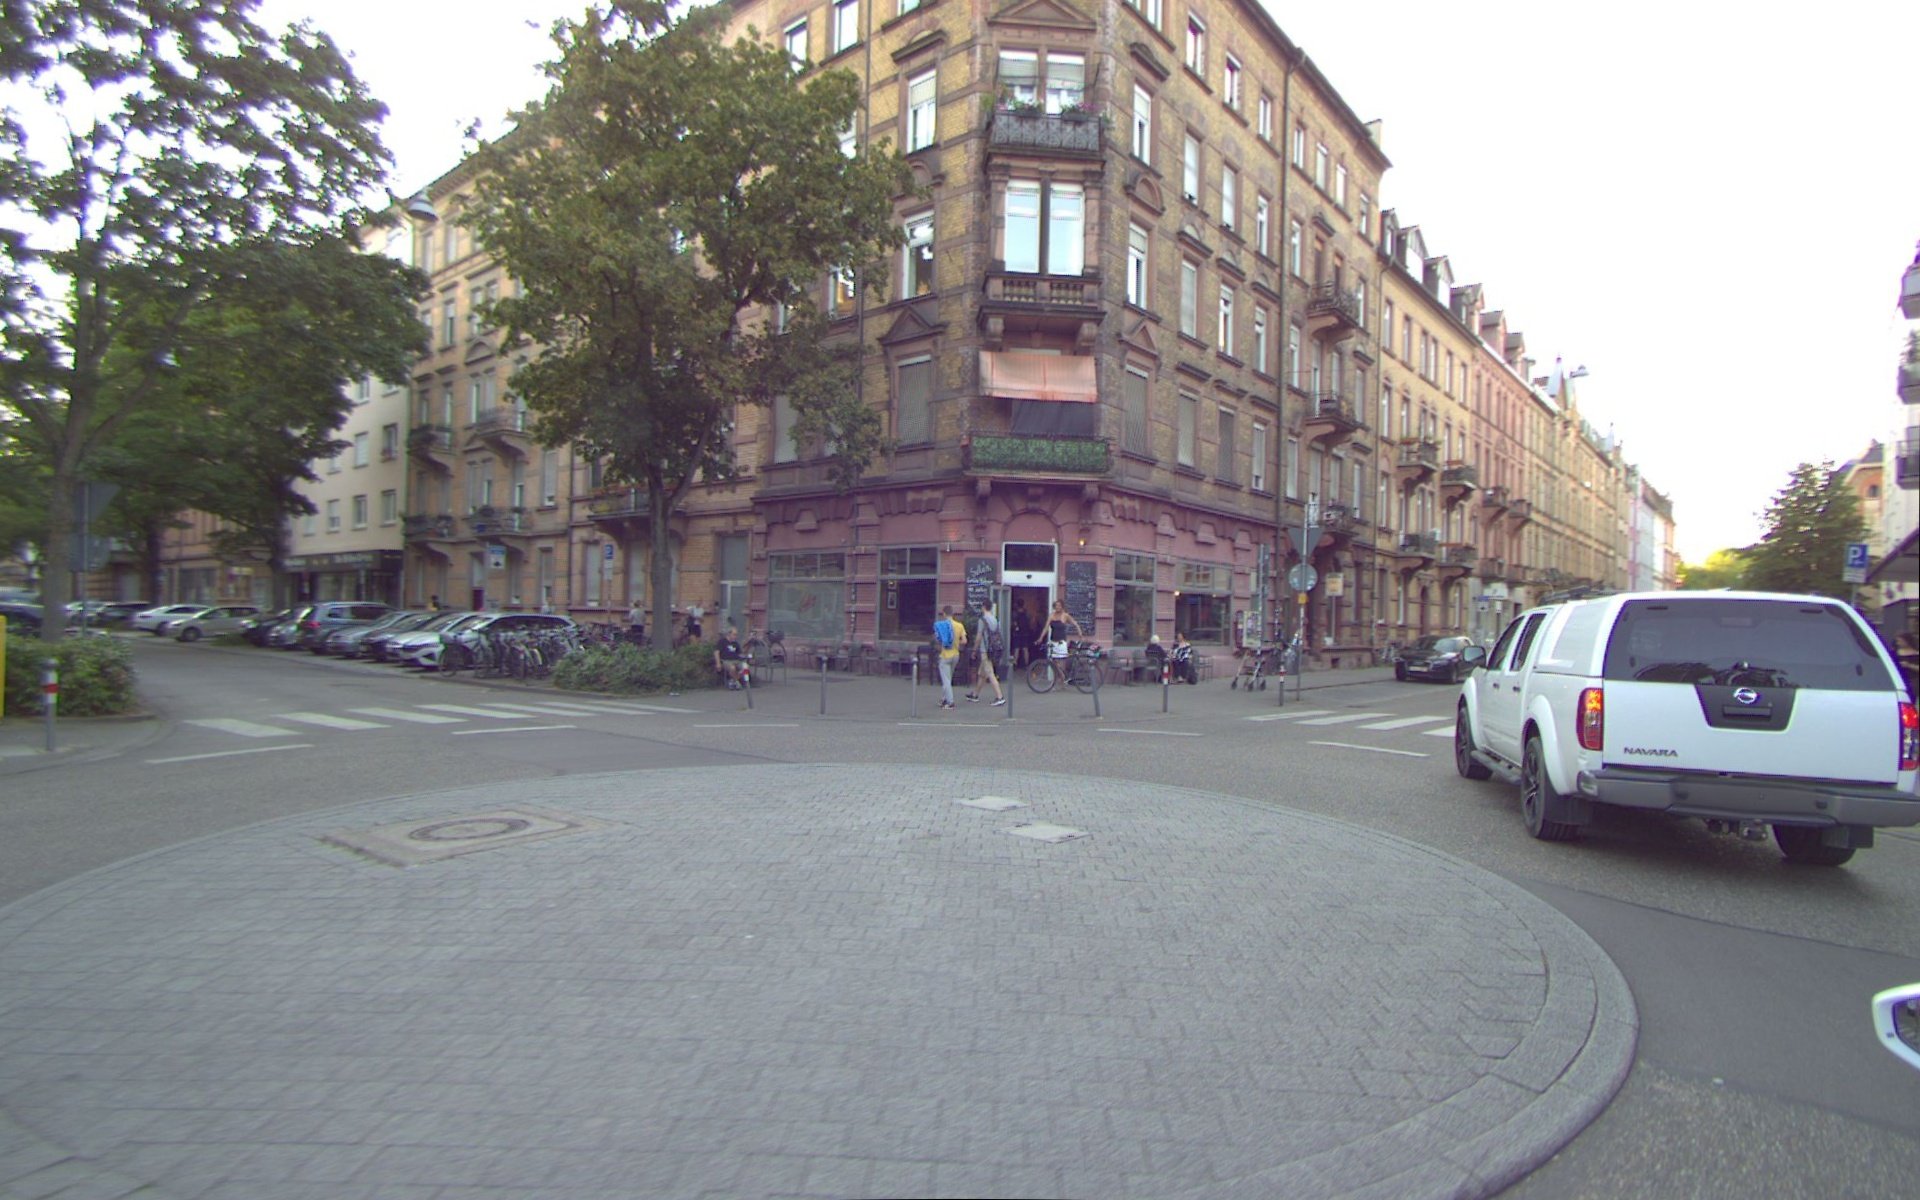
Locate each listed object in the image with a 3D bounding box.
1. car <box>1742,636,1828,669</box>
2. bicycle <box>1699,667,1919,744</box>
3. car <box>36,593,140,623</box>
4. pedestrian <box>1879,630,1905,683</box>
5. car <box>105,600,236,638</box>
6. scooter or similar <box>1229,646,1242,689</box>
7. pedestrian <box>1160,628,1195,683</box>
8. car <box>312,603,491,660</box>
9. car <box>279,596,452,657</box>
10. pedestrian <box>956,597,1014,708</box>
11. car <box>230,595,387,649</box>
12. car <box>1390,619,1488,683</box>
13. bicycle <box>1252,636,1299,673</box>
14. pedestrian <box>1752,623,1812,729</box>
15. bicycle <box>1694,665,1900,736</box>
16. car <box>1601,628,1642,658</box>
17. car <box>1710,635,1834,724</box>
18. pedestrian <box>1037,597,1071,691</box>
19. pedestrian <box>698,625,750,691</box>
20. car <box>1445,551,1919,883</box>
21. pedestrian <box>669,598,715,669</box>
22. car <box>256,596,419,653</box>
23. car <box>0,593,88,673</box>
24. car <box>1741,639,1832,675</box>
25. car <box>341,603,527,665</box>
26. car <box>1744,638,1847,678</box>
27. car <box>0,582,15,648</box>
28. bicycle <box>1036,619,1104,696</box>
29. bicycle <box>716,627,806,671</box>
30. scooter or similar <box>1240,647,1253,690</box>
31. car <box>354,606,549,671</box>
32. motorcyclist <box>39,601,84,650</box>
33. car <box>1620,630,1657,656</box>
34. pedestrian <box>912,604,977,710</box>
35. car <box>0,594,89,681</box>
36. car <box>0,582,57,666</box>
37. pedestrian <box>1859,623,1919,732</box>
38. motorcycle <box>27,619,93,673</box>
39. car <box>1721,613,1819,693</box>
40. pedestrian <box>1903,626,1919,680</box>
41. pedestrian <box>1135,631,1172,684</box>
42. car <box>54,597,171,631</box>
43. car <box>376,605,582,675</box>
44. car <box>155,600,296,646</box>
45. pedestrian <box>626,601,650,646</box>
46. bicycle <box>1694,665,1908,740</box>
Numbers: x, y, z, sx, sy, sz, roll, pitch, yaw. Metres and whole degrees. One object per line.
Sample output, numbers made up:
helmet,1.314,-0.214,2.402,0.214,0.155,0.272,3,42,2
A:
car,50.080,3.162,61.060,3.939,1.773,1.832,2,0,40
bicycle,12.437,1.522,14.814,2.429,1.052,0.615,-3,-3,36
car,-52.819,0.502,60.900,1.969,1.636,4.478,2,-1,39
pedestrian,32.848,1.983,35.418,0.619,1.835,0.785,2,0,43
car,-37.154,0.927,47.364,1.969,1.636,4.478,2,-1,39
scooter or similar,6.524,1.590,23.795,0.229,0.941,1.267,3,0,15
pedestrian,5.376,1.358,24.794,0.640,1.303,0.538,2,0,36
car,-17.495,1.002,31.631,1.969,1.599,4.478,2,-1,39
car,-19.576,0.885,33.240,1.969,1.822,4.478,2,-1,39
pedestrian,0.453,0.933,18.060,0.888,1.910,0.616,3,0,10
car,-24.125,0.844,37.334,1.969,1.822,4.478,2,-1,39
car,14.822,1.549,31.005,1.812,1.773,3.983,2,-1,39
bicycle,9.567,1.650,30.402,0.382,1.050,2.471,2,-1,40
pedestrian,13.689,1.241,16.730,0.711,1.685,0.699,2,0,40
bicycle,13.183,1.560,15.943,2.429,1.052,0.615,-3,-3,36
car,43.440,2.815,65.898,1.812,1.773,3.983,2,-1,39
car,16.893,1.580,20.945,1.812,1.562,3.983,2,-1,39
pedestrian,1.928,0.896,20.512,0.495,1.864,0.573,3,0,17
pedestrian,-4.803,1.174,20.460,0.745,1.279,0.665,2,0,40
car,5.377,0.756,8.198,1.906,1.834,5.003,1,-2,18
pedestrian,-6.785,0.840,25.409,0.908,1.747,0.665,2,0,40
car,-21.983,0.884,35.603,1.969,1.822,4.478,2,-1,39
car,-20.976,0.635,20.528,1.969,1.599,4.478,2,-1,39
car,47.351,3.228,57.626,3.939,1.773,1.832,2,0,40
car,-15.603,1.013,30.000,1.969,1.641,4.478,2,-1,39
car,42.659,2.947,51.414,3.939,1.773,1.832,2,0,40
car,-31.184,0.367,29.316,1.969,1.977,4.984,2,-1,39
bicycle,2.210,1.127,20.015,0.418,1.461,1.898,2,0,35
bicycle,-5.242,1.264,26.356,2.861,0.971,0.623,2,0,40
scooter or similar,6.774,1.601,23.731,0.229,0.941,1.267,3,0,15
car,-14.234,1.085,28.328,1.969,1.599,4.478,2,-1,39
motorcyclist,-38.172,1.090,42.695,1.022,2.040,1.163,2,0,35
car,48.498,3.077,71.796,1.812,1.773,3.983,2,-1,39
pedestrian,-0.275,0.968,17.378,0.611,1.759,0.895,3,0,-42
car,-19.324,0.657,18.630,1.969,1.599,4.478,2,-1,39
car,-23.024,0.475,22.042,1.969,1.855,4.478,2,-1,39
pedestrian,15.149,1.234,16.222,0.695,1.685,0.716,3,0,-32
motorcycle,-38.441,1.930,42.872,3.933,2.040,1.163,2,0,35
car,22.360,1.440,27.778,1.919,1.959,3.983,2,-1,39
pedestrian,33.048,1.827,34.652,0.480,1.835,0.630,3,0,-37
pedestrian,4.603,1.361,23.902,0.640,1.206,0.538,2,0,36
car,-45.521,0.793,54.011,1.969,1.636,4.478,2,-1,39
car,-12.622,1.051,26.610,1.969,1.599,4.478,2,-1,39
car,-31.331,1.012,42.974,1.969,1.822,4.478,2,-1,39
pedestrian,-9.453,0.677,29.479,0.567,1.279,0.453,3,0,-25
bicycle,12.790,1.536,15.403,2.429,1.052,0.615,-3,-3,36
